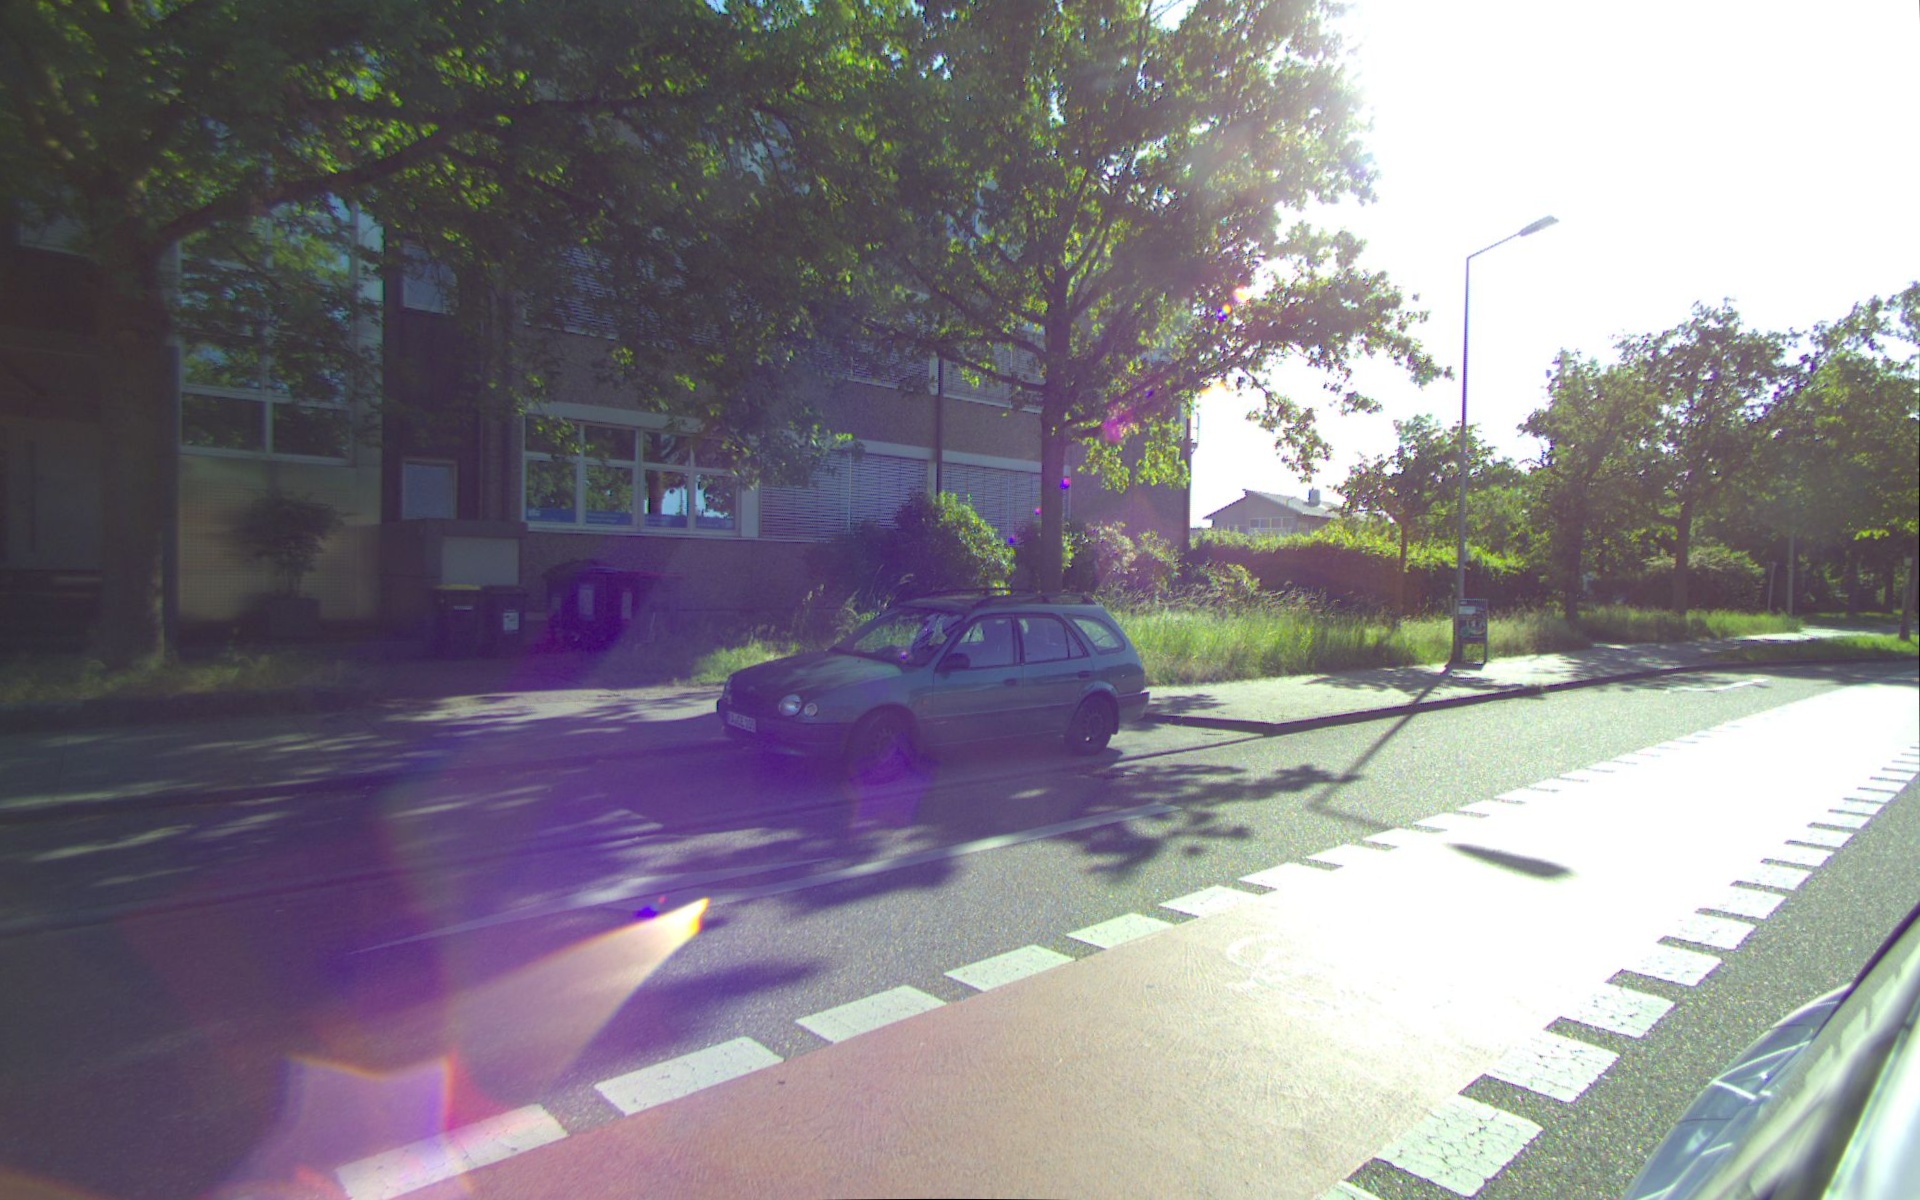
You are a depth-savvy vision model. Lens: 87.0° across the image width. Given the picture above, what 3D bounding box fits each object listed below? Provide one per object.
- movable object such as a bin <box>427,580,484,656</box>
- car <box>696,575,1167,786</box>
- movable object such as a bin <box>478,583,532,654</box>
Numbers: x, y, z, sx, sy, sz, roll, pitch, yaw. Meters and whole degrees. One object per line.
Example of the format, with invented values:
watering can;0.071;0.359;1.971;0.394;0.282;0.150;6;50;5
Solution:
movable object such as a bin;-7.240;0.243;14.513;0.571;1.045;0.713;0;1;-41
car;-0.096;0.538;9.116;4.129;1.446;1.596;-1;3;-40
movable object such as a bin;-6.752;0.265;15.002;0.566;1.020;0.629;-1;1;-41
